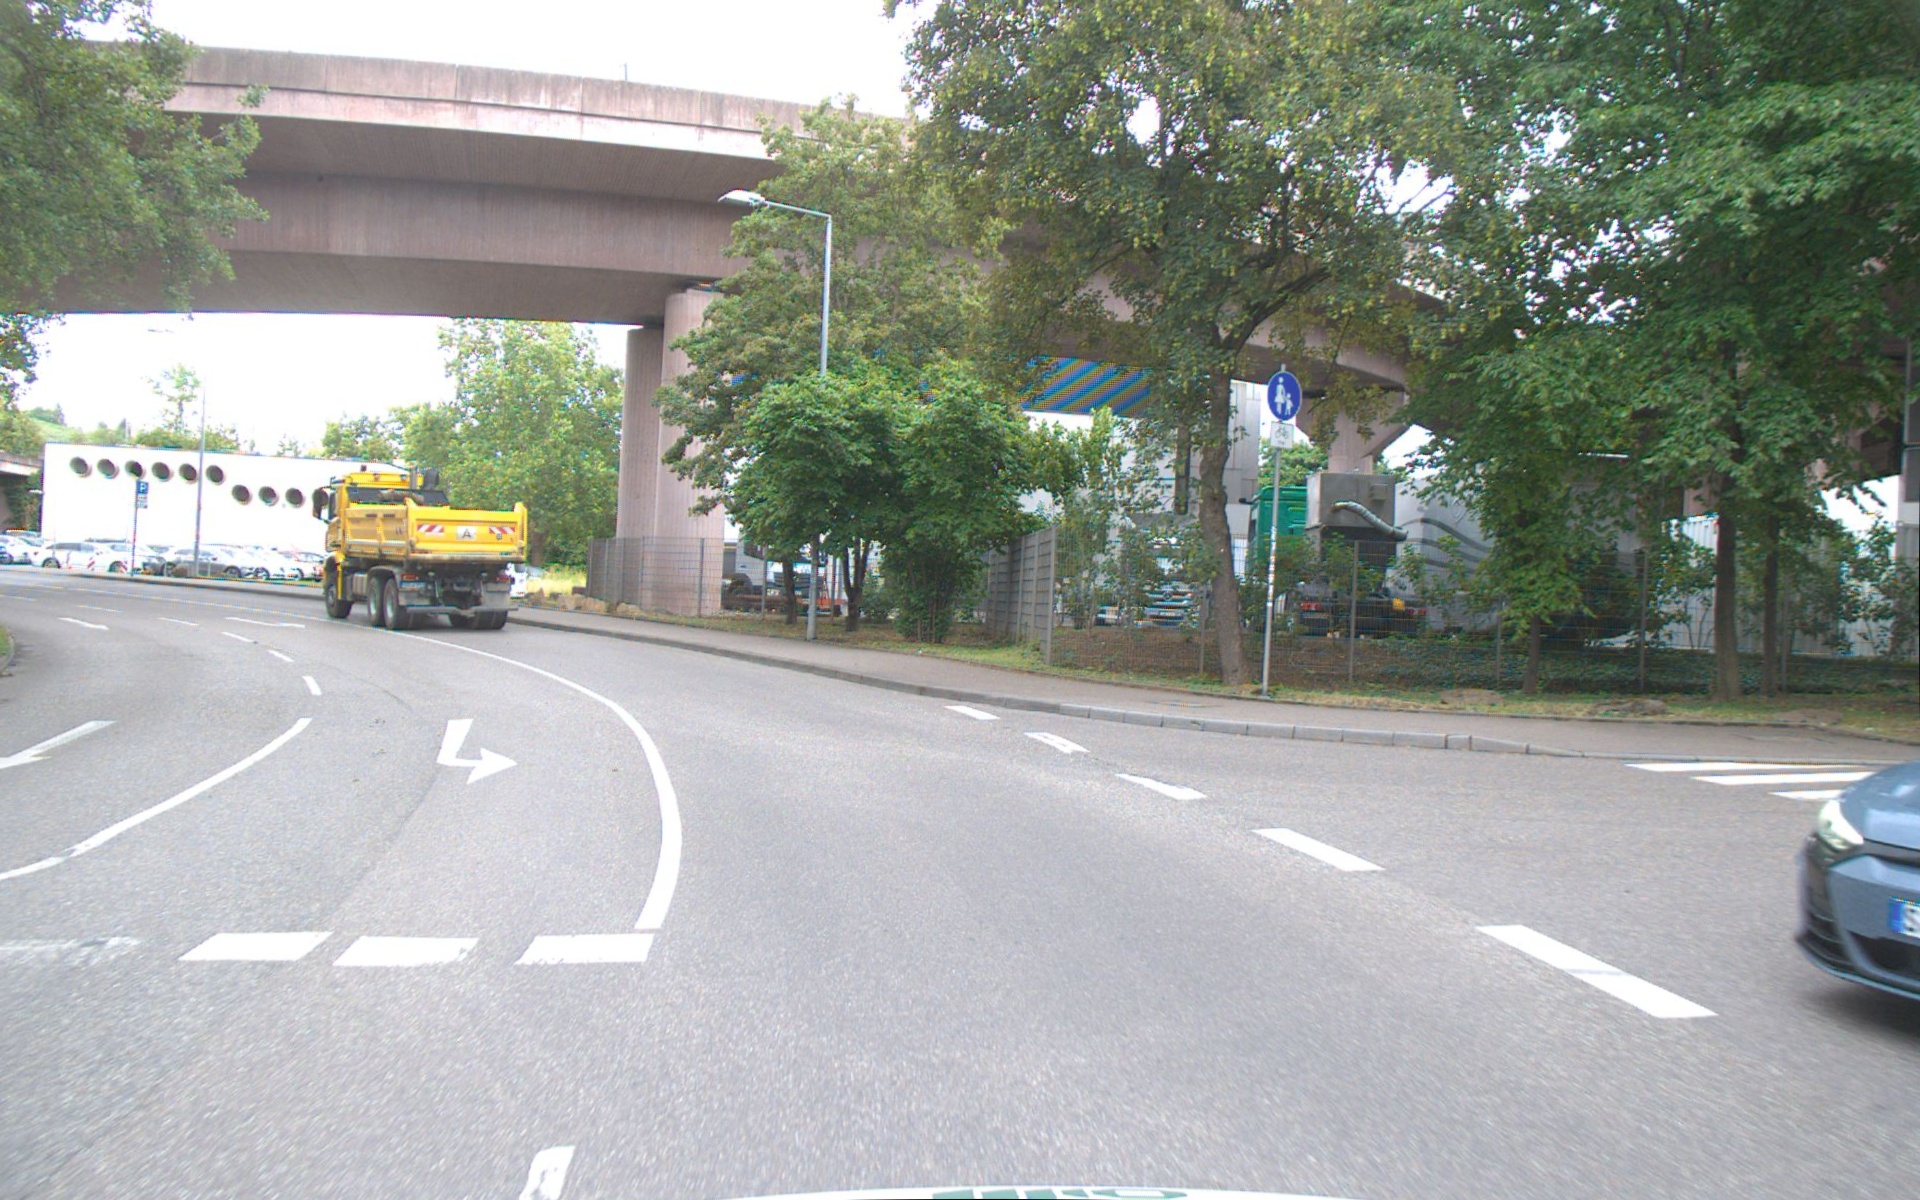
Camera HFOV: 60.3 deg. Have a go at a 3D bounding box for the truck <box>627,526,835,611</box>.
[{"bbox_3d":[-7.569,-1.061,54.089,7.098,2.596,2.710,2,0,41],"label":"truck"}]

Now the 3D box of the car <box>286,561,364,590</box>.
[{"bbox_3d":[-34.775,-1.353,90.649,3.628,1.467,1.633,1,-1,-6],"label":"car"}]

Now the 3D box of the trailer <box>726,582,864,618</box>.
[{"bbox_3d":[-4.735,-0.031,46.414,2.120,0.756,6.251,-2,2,-23],"label":"trailer"}]

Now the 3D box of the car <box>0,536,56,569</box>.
[{"bbox_3d":[-50.737,-2.534,88.380,3.794,1.662,1.774,1,-1,-6],"label":"car"}]

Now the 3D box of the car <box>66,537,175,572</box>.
[{"bbox_3d":[-38.256,-2.060,75.423,3.909,1.467,1.998,1,0,-6],"label":"car"}]

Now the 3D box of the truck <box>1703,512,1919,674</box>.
[{"bbox_3d":[18.133,-0.206,33.475,2.858,2.949,6.554,1,2,-4],"label":"truck"}]

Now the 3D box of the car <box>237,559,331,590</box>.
[{"bbox_3d":[-34.073,-1.265,83.413,3.909,1.431,1.998,1,0,-6],"label":"car"}]

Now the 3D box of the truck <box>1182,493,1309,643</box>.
[{"bbox_3d":[9.943,-1.175,58.520,3.137,4.863,8.050,1,2,1],"label":"truck"}]

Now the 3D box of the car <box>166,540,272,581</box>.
[{"bbox_3d":[-32.792,-1.736,73.259,3.910,1.669,1.687,1,-1,-7],"label":"car"}]

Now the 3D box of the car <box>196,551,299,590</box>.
[{"bbox_3d":[-32.803,-1.359,76.273,3.911,1.668,1.997,1,-1,-7],"label":"car"}]

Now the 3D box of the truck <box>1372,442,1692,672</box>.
[{"bbox_3d":[10.924,-0.855,32.708,3.005,3.935,8.043,1,2,-4],"label":"truck"}]

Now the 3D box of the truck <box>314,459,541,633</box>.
[{"bbox_3d":[-12.377,-1.251,37.886,2.901,3.542,8.150,-1,2,-33],"label":"truck"}]

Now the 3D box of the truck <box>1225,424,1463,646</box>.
[{"bbox_3d":[7.633,-1.287,33.936,3.004,4.032,6.921,1,2,-2],"label":"truck"}]

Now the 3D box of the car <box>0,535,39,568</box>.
[{"bbox_3d":[-50.296,-2.551,86.004,3.794,1.662,1.774,1,-1,-6],"label":"car"}]

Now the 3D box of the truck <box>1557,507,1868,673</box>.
[{"bbox_3d":[14.796,-0.268,33.170,2.858,2.949,6.554,1,2,-4],"label":"truck"}]

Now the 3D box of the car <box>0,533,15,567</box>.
[{"bbox_3d":[-50.173,-2.556,83.502,3.794,1.662,1.774,1,-1,-6],"label":"car"}]

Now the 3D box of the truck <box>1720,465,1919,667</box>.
[{"bbox_3d":[21.722,-0.838,39.912,3.003,4.374,8.049,1,2,0],"label":"truck"}]

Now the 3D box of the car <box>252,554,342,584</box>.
[{"bbox_3d":[-34.361,-1.600,85.806,3.909,1.467,1.998,1,0,-6],"label":"car"}]

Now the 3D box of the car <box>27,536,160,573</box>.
[{"bbox_3d":[-38.206,-1.978,73.032,4.727,1.467,1.998,1,0,-6],"label":"car"}]

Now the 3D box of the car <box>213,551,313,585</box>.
[{"bbox_3d":[-33.199,-1.513,78.829,3.909,1.467,1.998,1,0,-6],"label":"car"}]

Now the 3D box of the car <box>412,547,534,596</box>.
[{"bbox_3d":[-19.688,-1.145,66.966,4.223,1.889,2.001,1,-1,4],"label":"car"}]

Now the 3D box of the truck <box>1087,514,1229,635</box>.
[{"bbox_3d":[6.486,-0.937,55.677,2.996,3.682,7.907,1,2,-6],"label":"truck"}]

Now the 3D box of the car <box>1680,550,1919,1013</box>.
[{"bbox_3d":[5.410,0.651,6.409,4.853,1.528,2.156,1,0,-25],"label":"car"}]
